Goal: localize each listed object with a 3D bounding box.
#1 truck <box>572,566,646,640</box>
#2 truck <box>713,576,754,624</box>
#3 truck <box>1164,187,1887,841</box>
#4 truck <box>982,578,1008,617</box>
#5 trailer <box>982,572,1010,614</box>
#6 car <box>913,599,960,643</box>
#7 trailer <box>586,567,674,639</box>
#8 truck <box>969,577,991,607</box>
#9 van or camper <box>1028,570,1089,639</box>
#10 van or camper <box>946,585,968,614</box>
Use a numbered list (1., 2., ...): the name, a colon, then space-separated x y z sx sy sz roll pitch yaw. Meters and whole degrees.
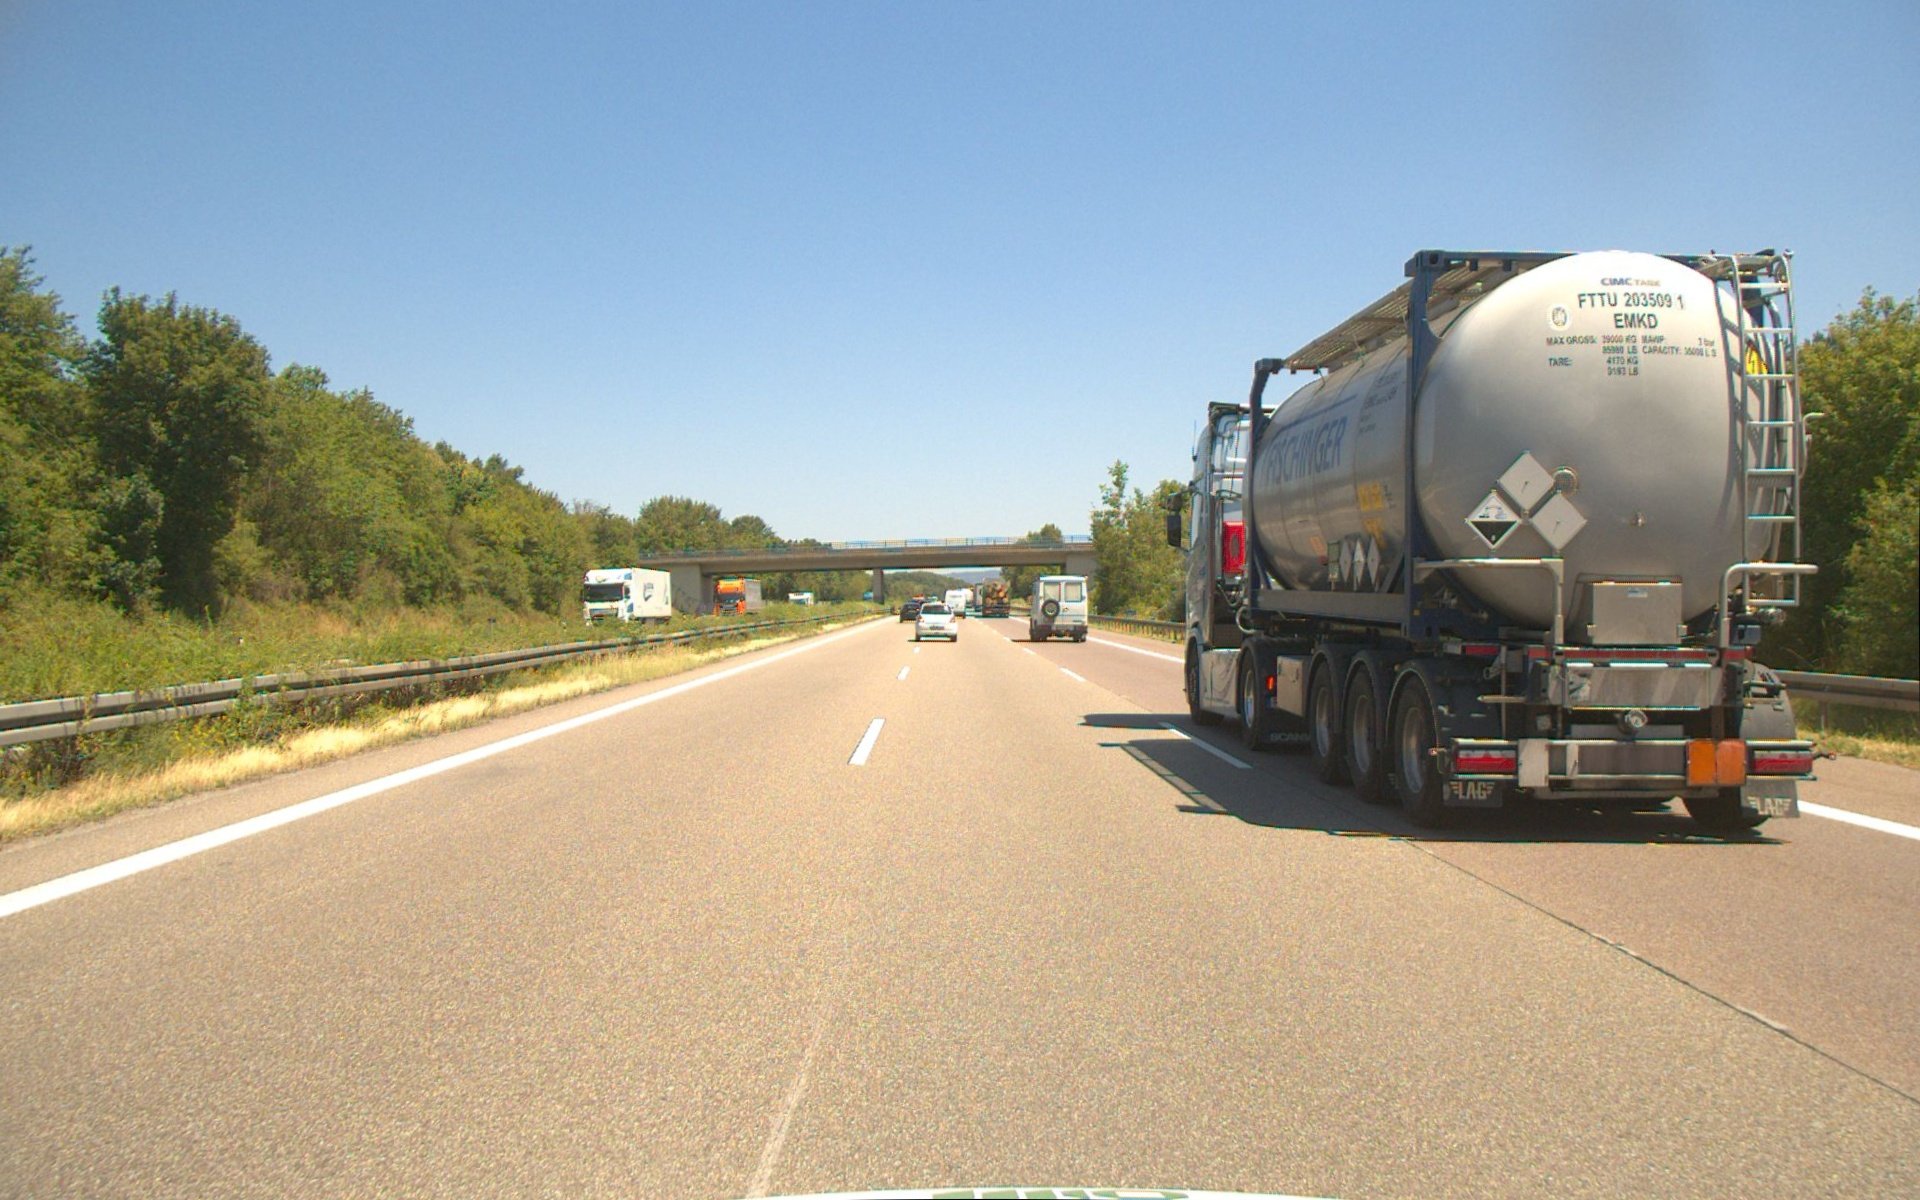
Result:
1. truck: -20.908 0.177 98.850 3.129 4.221 5.942 1 0 -1
2. truck: -20.891 -0.026 152.845 3.073 4.305 5.175 1 0 0
3. truck: 4.441 -0.521 17.220 2.742 4.117 13.351 1 0 -1
4. truck: 3.660 -0.239 174.653 2.615 4.064 6.636 0 0 0
5. trailer: 3.601 -0.664 167.511 2.598 4.028 13.636 0 0 0
6. car: -0.985 0.837 67.019 1.819 1.681 3.999 1 0 -1
7. trailer: -20.981 0.219 106.049 3.111 4.264 12.985 1 0 -1
8. truck: 3.014 -1.148 247.539 3.015 4.283 16.844 1 0 1
9. van or camper: 4.076 0.183 69.132 2.071 2.750 6.366 0 0 -1
10. van or camper: -0.251 -0.040 152.635 2.016 2.668 5.985 0 0 0
